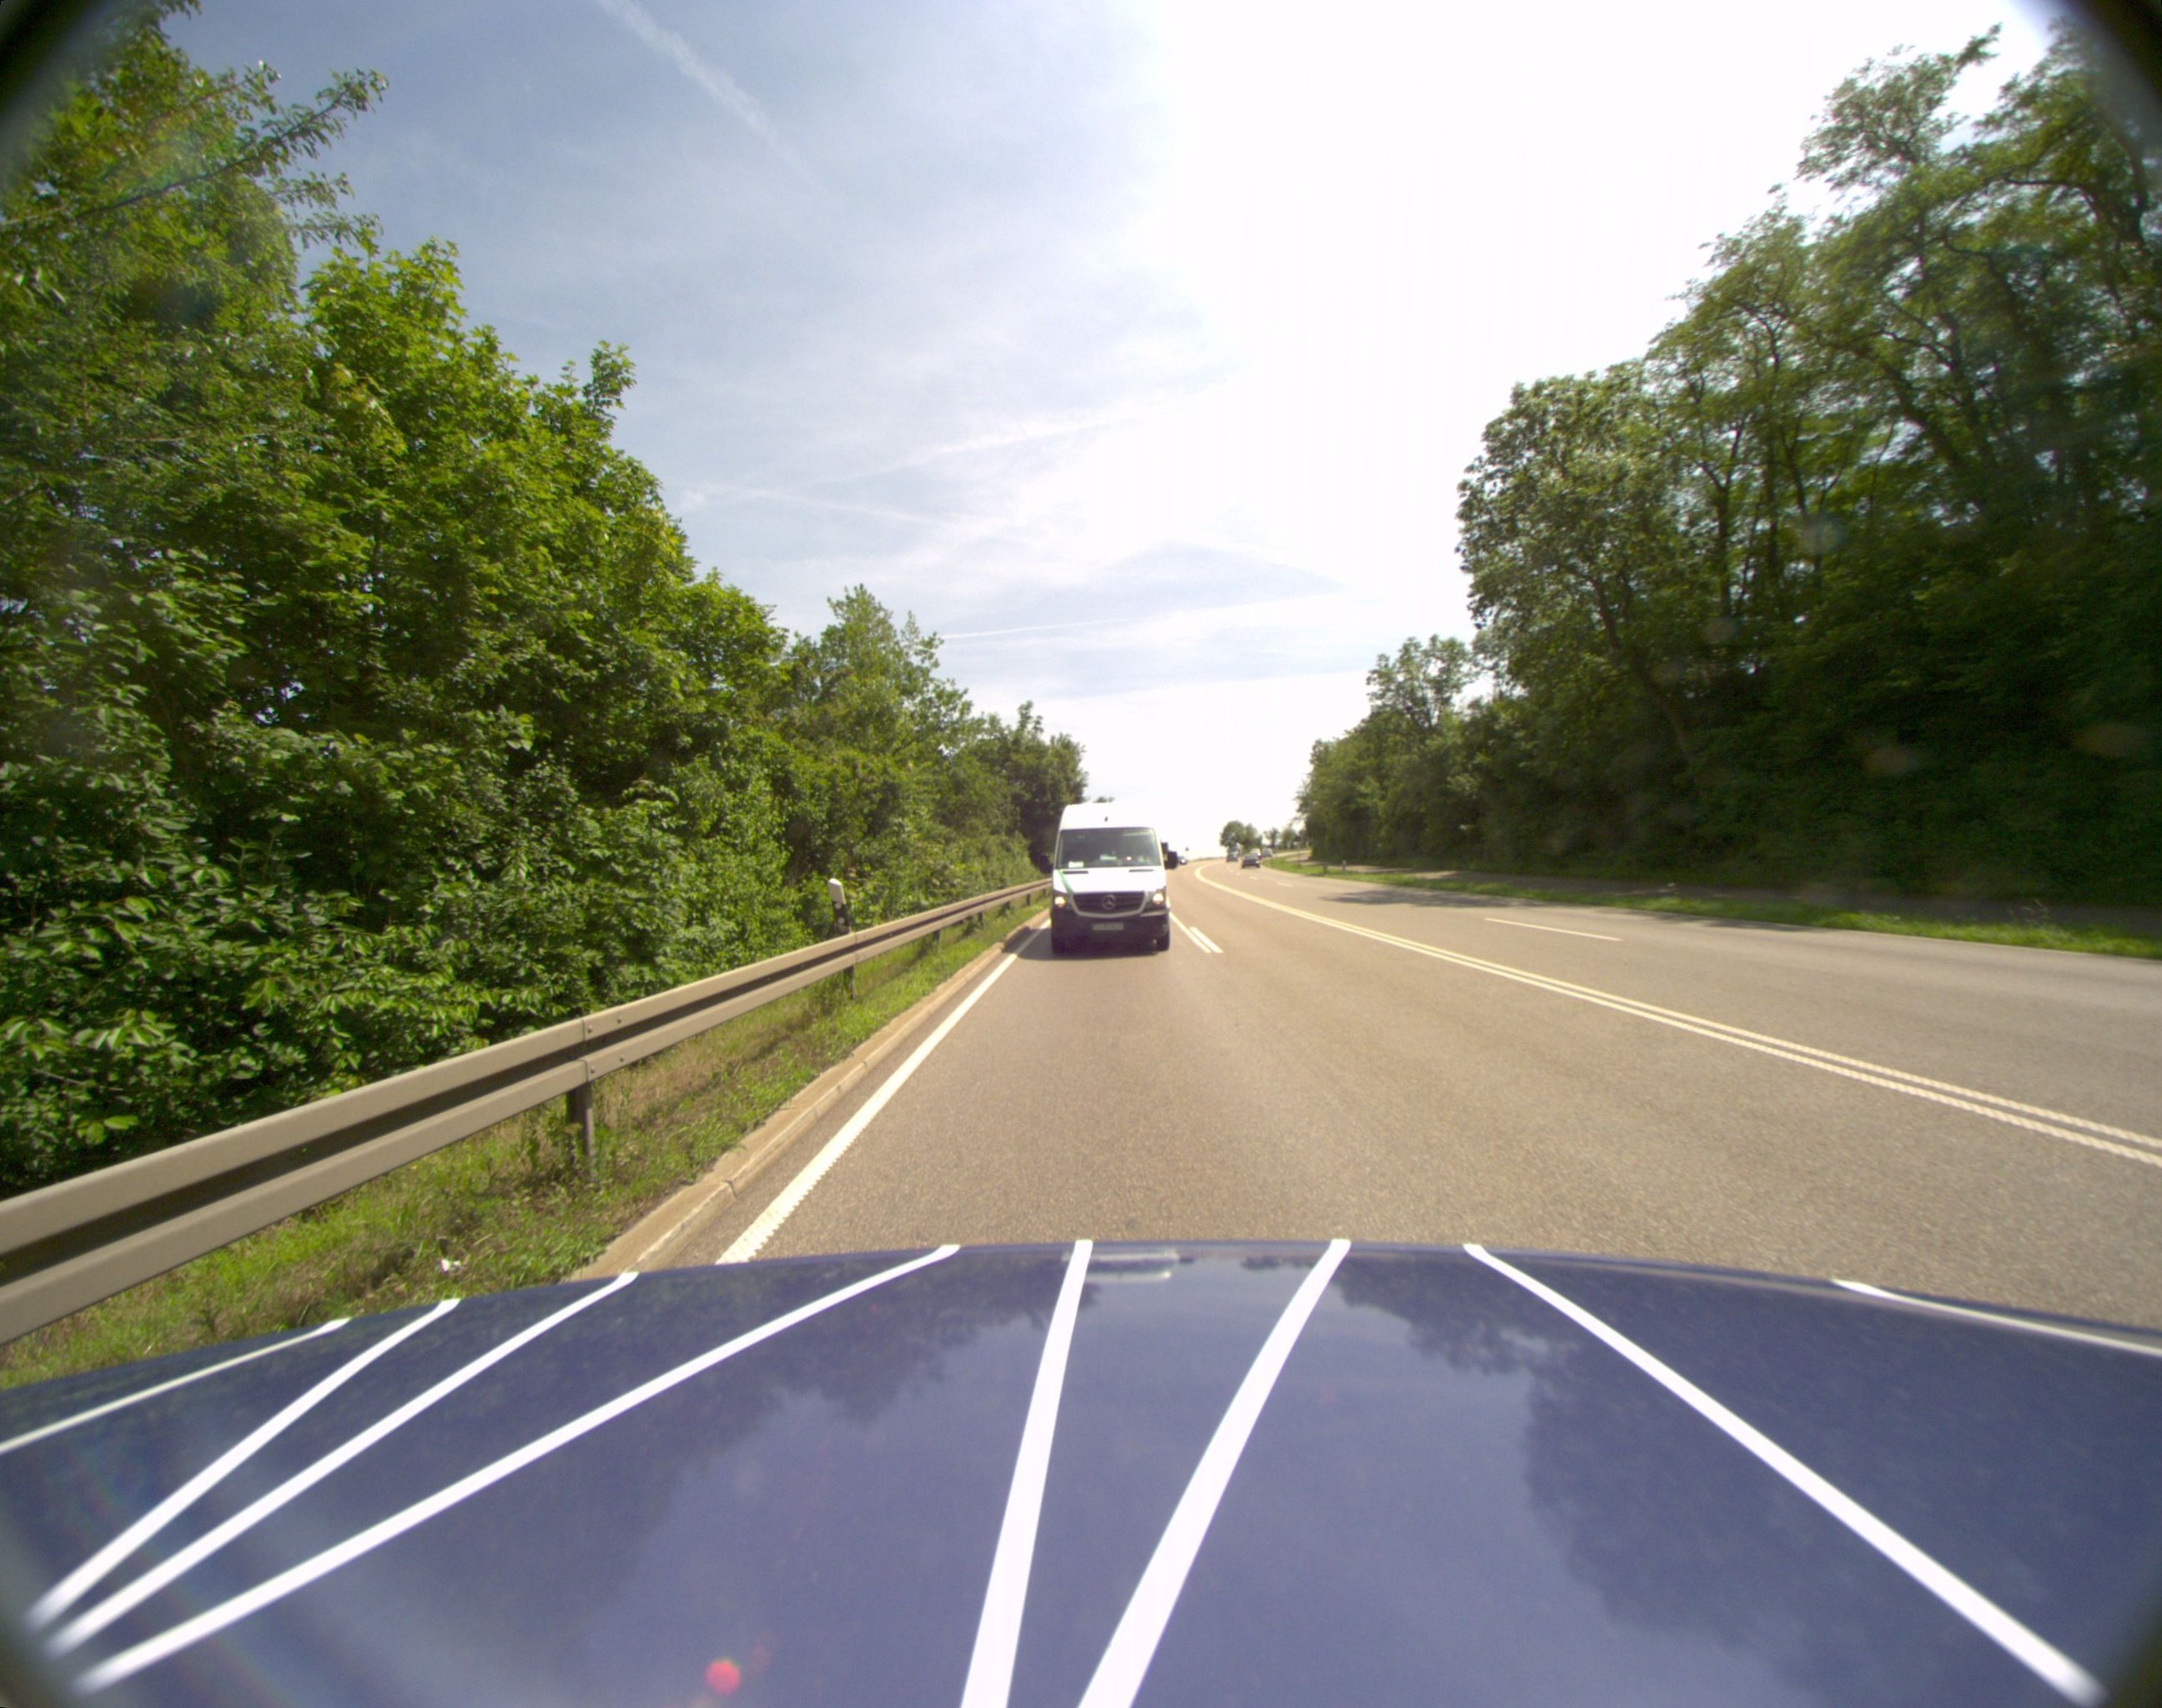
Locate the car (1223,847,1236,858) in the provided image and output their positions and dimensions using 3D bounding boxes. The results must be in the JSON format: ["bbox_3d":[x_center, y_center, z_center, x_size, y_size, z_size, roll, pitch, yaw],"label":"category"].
[{"bbox_3d":[25.071,-0.236,128.523,1.958,1.717,3.915,-2,0,14],"label":"car"}]

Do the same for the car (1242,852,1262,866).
[{"bbox_3d":[17.757,0.501,79.125,1.806,1.379,3.873,-2,0,10],"label":"car"}]

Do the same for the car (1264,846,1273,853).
[{"bbox_3d":[54.244,-1.337,219.504,1.763,1.849,3.815,-2,1,25],"label":"car"}]

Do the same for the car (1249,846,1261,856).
[{"bbox_3d":[31.149,-0.630,136.132,1.996,1.665,4.003,-2,1,14],"label":"car"}]

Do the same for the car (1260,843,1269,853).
[{"bbox_3d":[39.161,-1.199,162.114,1.815,2.002,3.874,-2,1,14],"label":"car"}]

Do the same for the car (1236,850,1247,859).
[{"bbox_3d":[37.449,0.062,177.176,1.996,2.002,4.005,-2,0,16],"label":"car"}]

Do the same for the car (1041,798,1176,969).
[{"bbox_3d":[0.476,0.436,13.840,1.958,2.502,5.267,-1,0,2],"label":"car"}]

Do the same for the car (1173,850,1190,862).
[{"bbox_3d":[15.155,0.268,114.659,1.996,1.718,4.003,-2,1,14],"label":"car"}]
